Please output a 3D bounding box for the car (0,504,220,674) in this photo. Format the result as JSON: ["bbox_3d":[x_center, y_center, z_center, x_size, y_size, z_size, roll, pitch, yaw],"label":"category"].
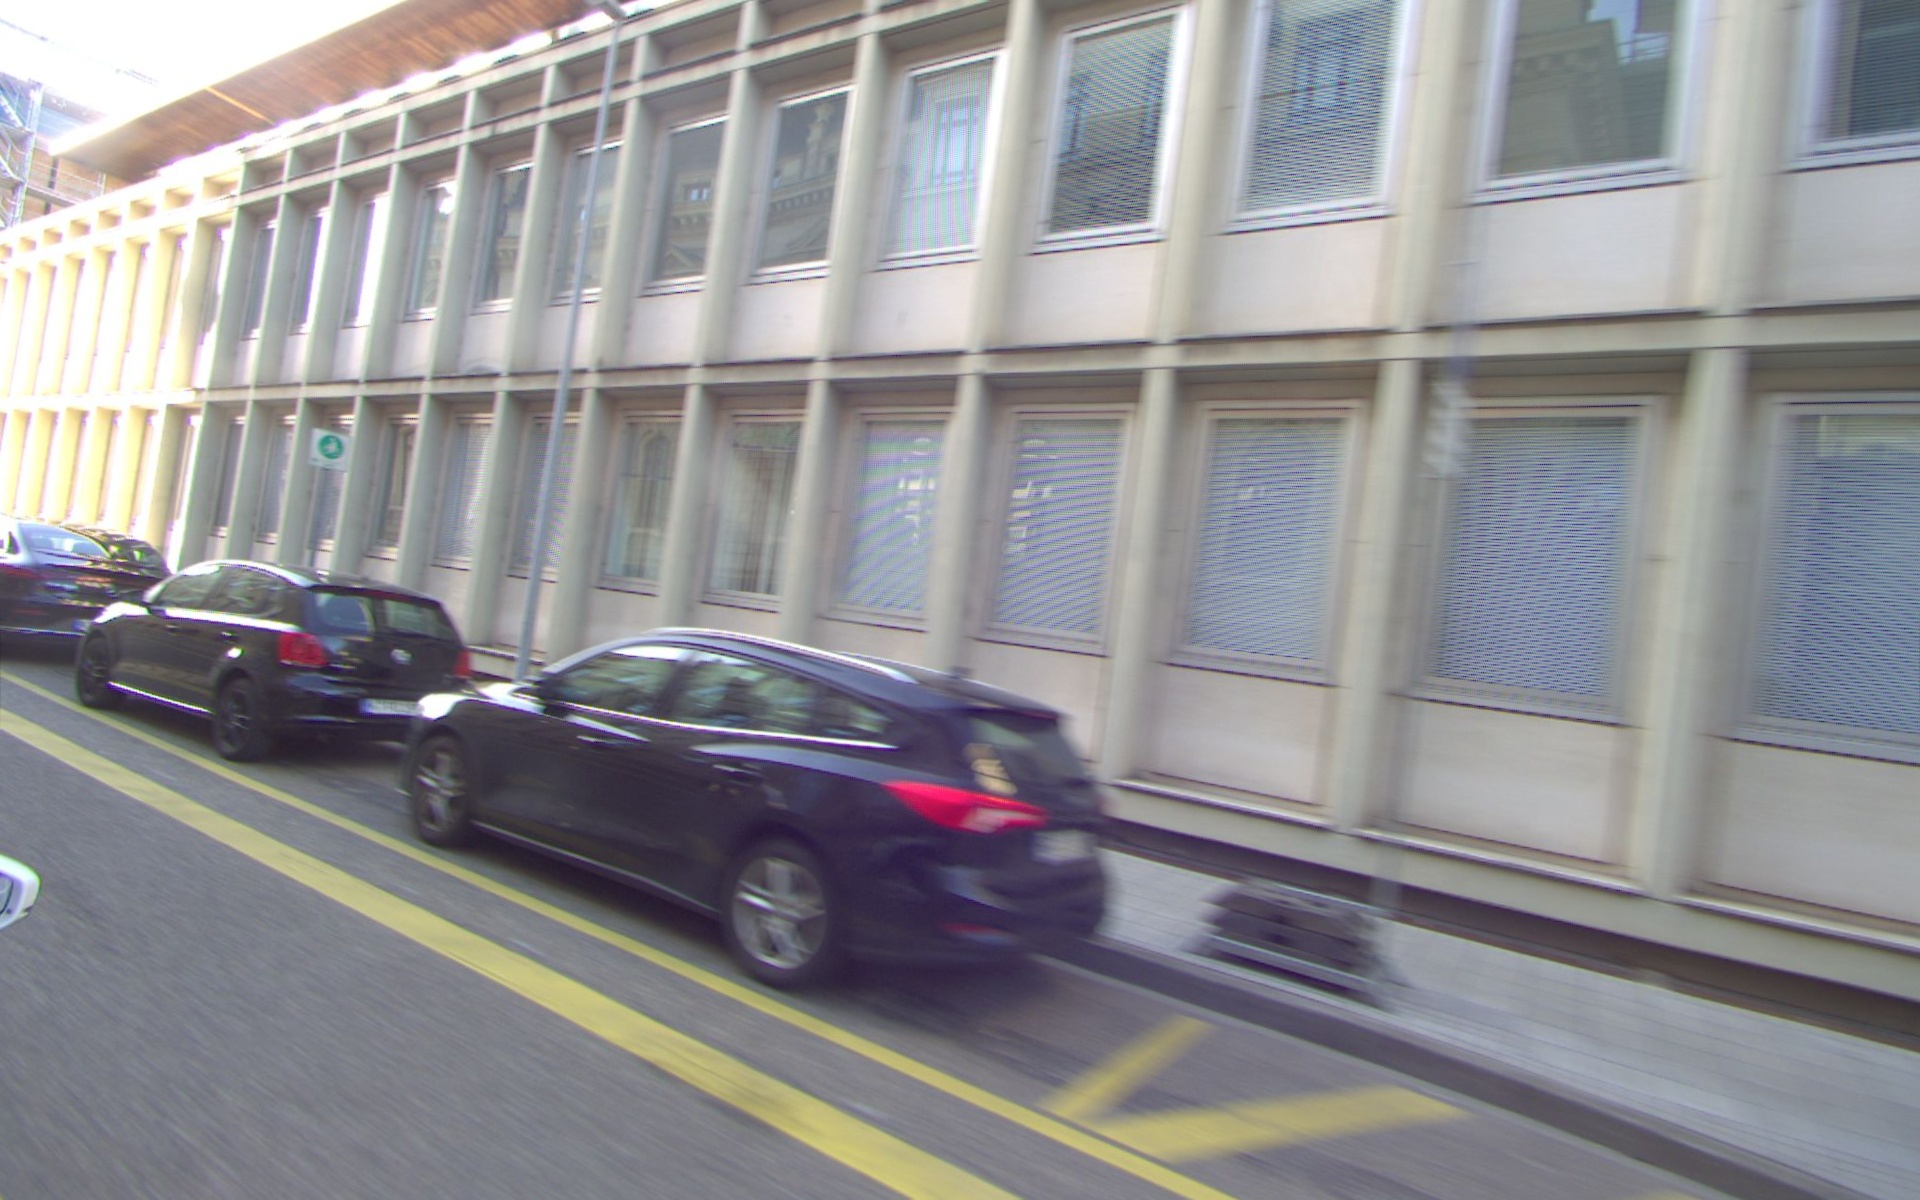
[{"bbox_3d":[-10.843,-0.251,11.699,4.658,1.516,1.830,6,-4,32],"label":"car"}]

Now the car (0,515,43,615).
[{"bbox_3d":[-16.064,-0.761,15.461,4.409,1.413,1.828,5,-5,35],"label":"car"}]

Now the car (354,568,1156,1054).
[{"bbox_3d":[-1.287,0.885,5.704,4.217,1.495,1.788,7,-4,32],"label":"car"}]

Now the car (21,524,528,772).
[{"bbox_3d":[-5.952,0.359,8.642,4.216,1.495,1.787,6,-4,30],"label":"car"}]
